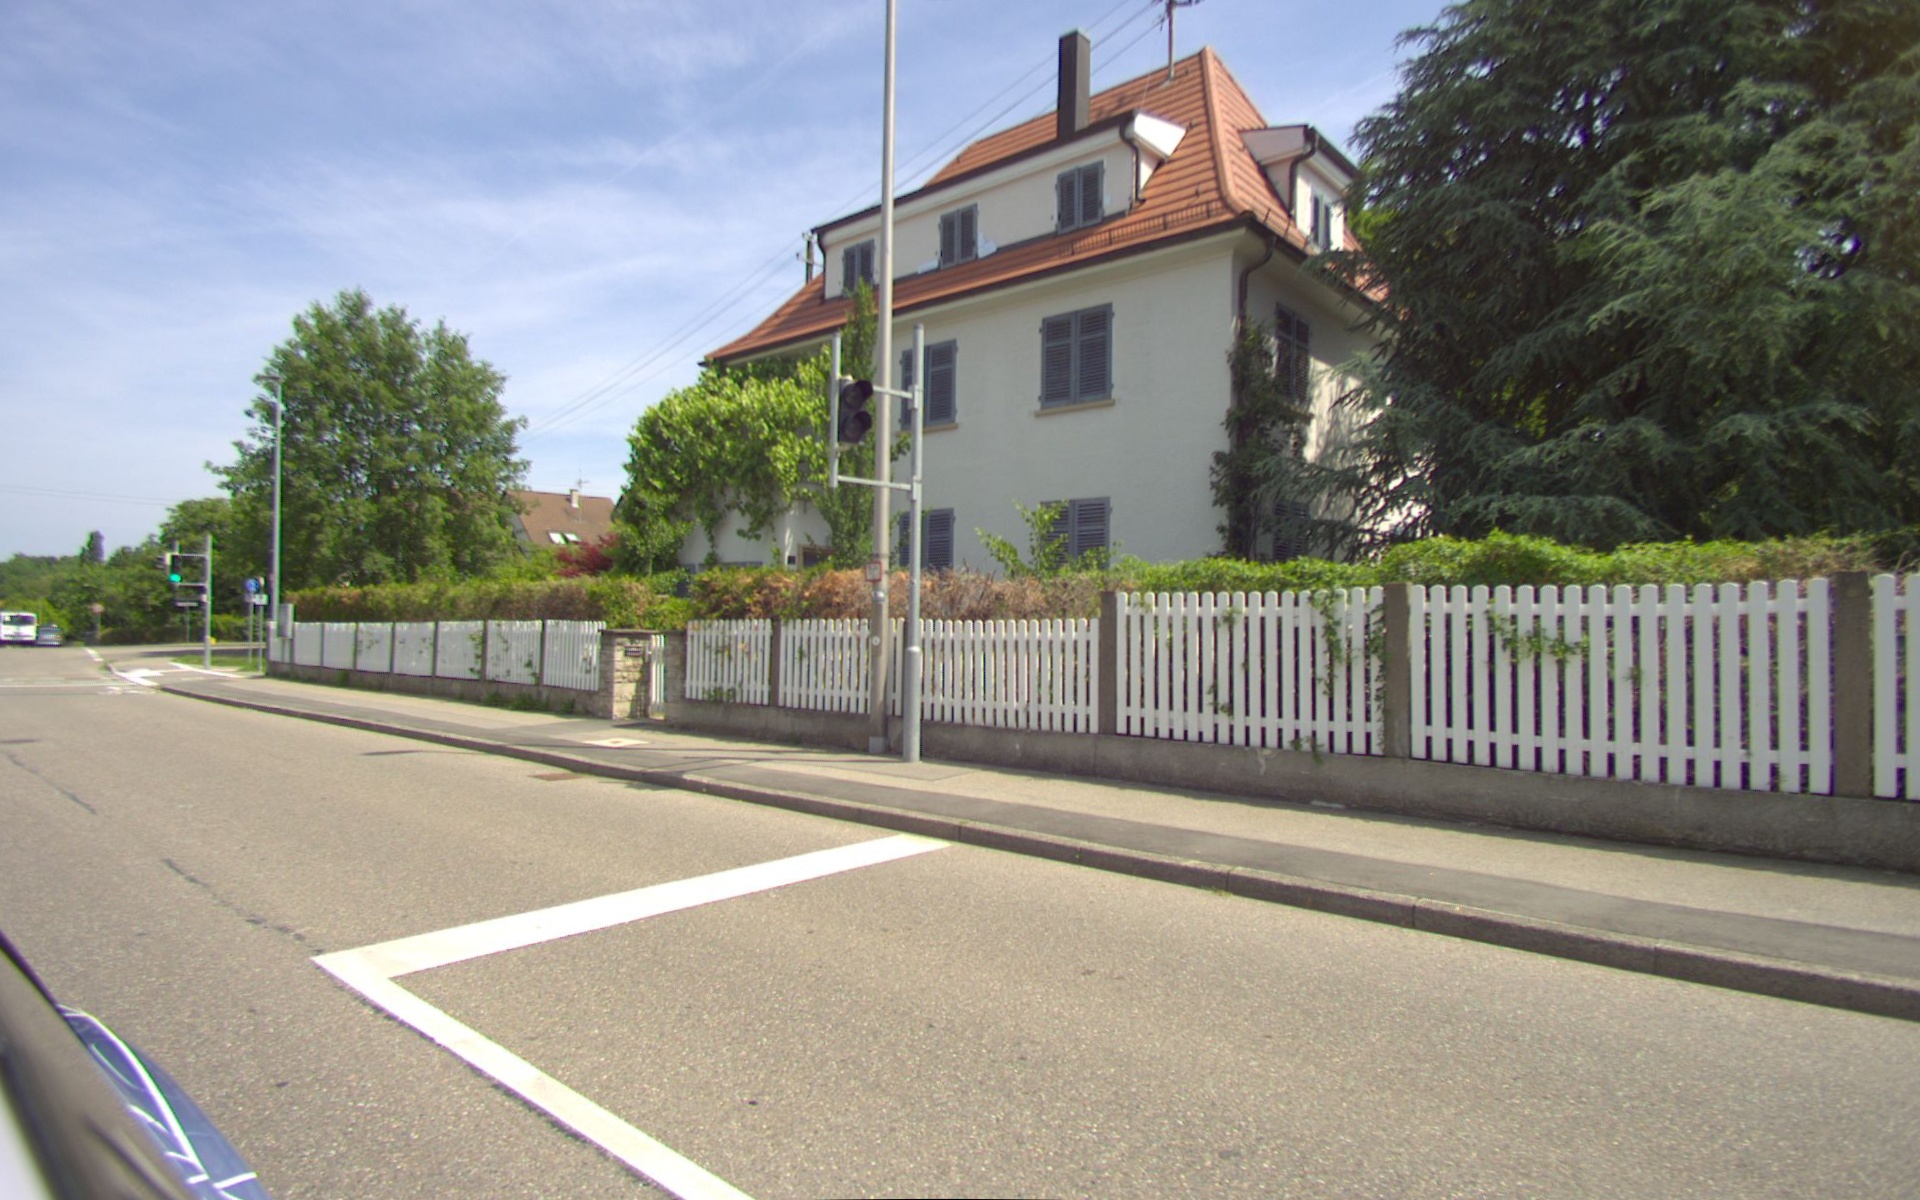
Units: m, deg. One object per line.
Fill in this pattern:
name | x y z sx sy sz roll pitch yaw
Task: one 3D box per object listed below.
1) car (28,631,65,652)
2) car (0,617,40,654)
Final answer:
car | -62.429 2.838 69.168 1.759 1.405 4.414 3 -3 -42
car | -54.926 2.041 58.849 1.857 1.980 4.906 2 -1 -44
